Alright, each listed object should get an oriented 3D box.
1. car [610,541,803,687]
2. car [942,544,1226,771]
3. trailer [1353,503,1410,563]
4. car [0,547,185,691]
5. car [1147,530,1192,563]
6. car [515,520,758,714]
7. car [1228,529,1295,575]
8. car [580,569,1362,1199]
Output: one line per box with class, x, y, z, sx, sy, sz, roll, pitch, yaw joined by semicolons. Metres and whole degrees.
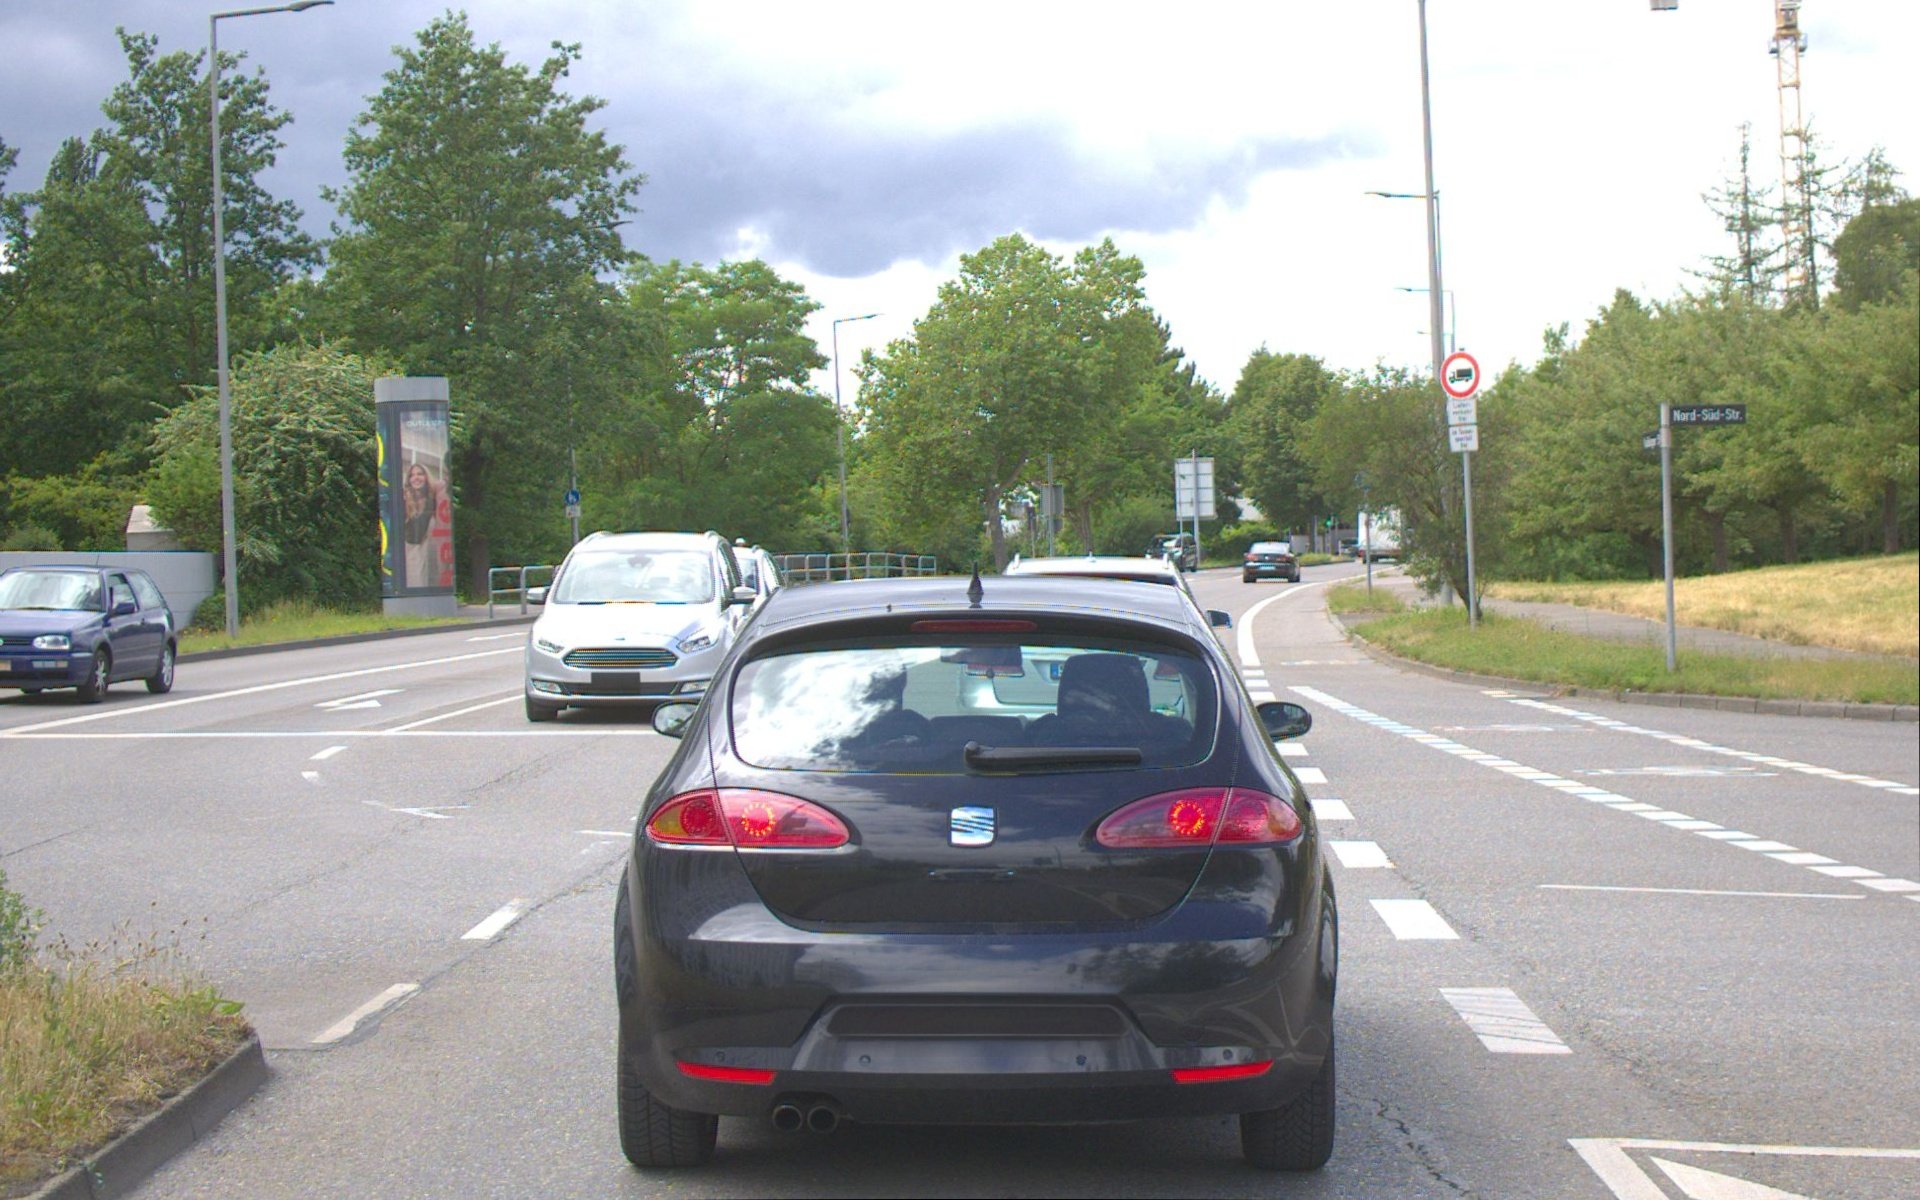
car;-2.763;0.111;38.241;1.660;1.513;4.084;0;1;3
car;0.798;0.364;24.199;1.834;1.462;3.751;0;0;0
trailer;22.017;-3.461;179.455;2.492;3.063;5.584;0;0;11
car;-9.450;0.159;36.228;1.554;1.414;3.896;0;1;2
car;10.188;-2.589;166.759;1.715;1.576;3.740;0;0;11
car;-2.955;0.100;32.273;1.820;1.681;4.645;0;1;0
car;10.616;-1.703;120.743;1.994;1.560;4.469;-1;1;9
car;-0.015;0.638;9.264;1.711;1.412;3.459;0;1;-1
